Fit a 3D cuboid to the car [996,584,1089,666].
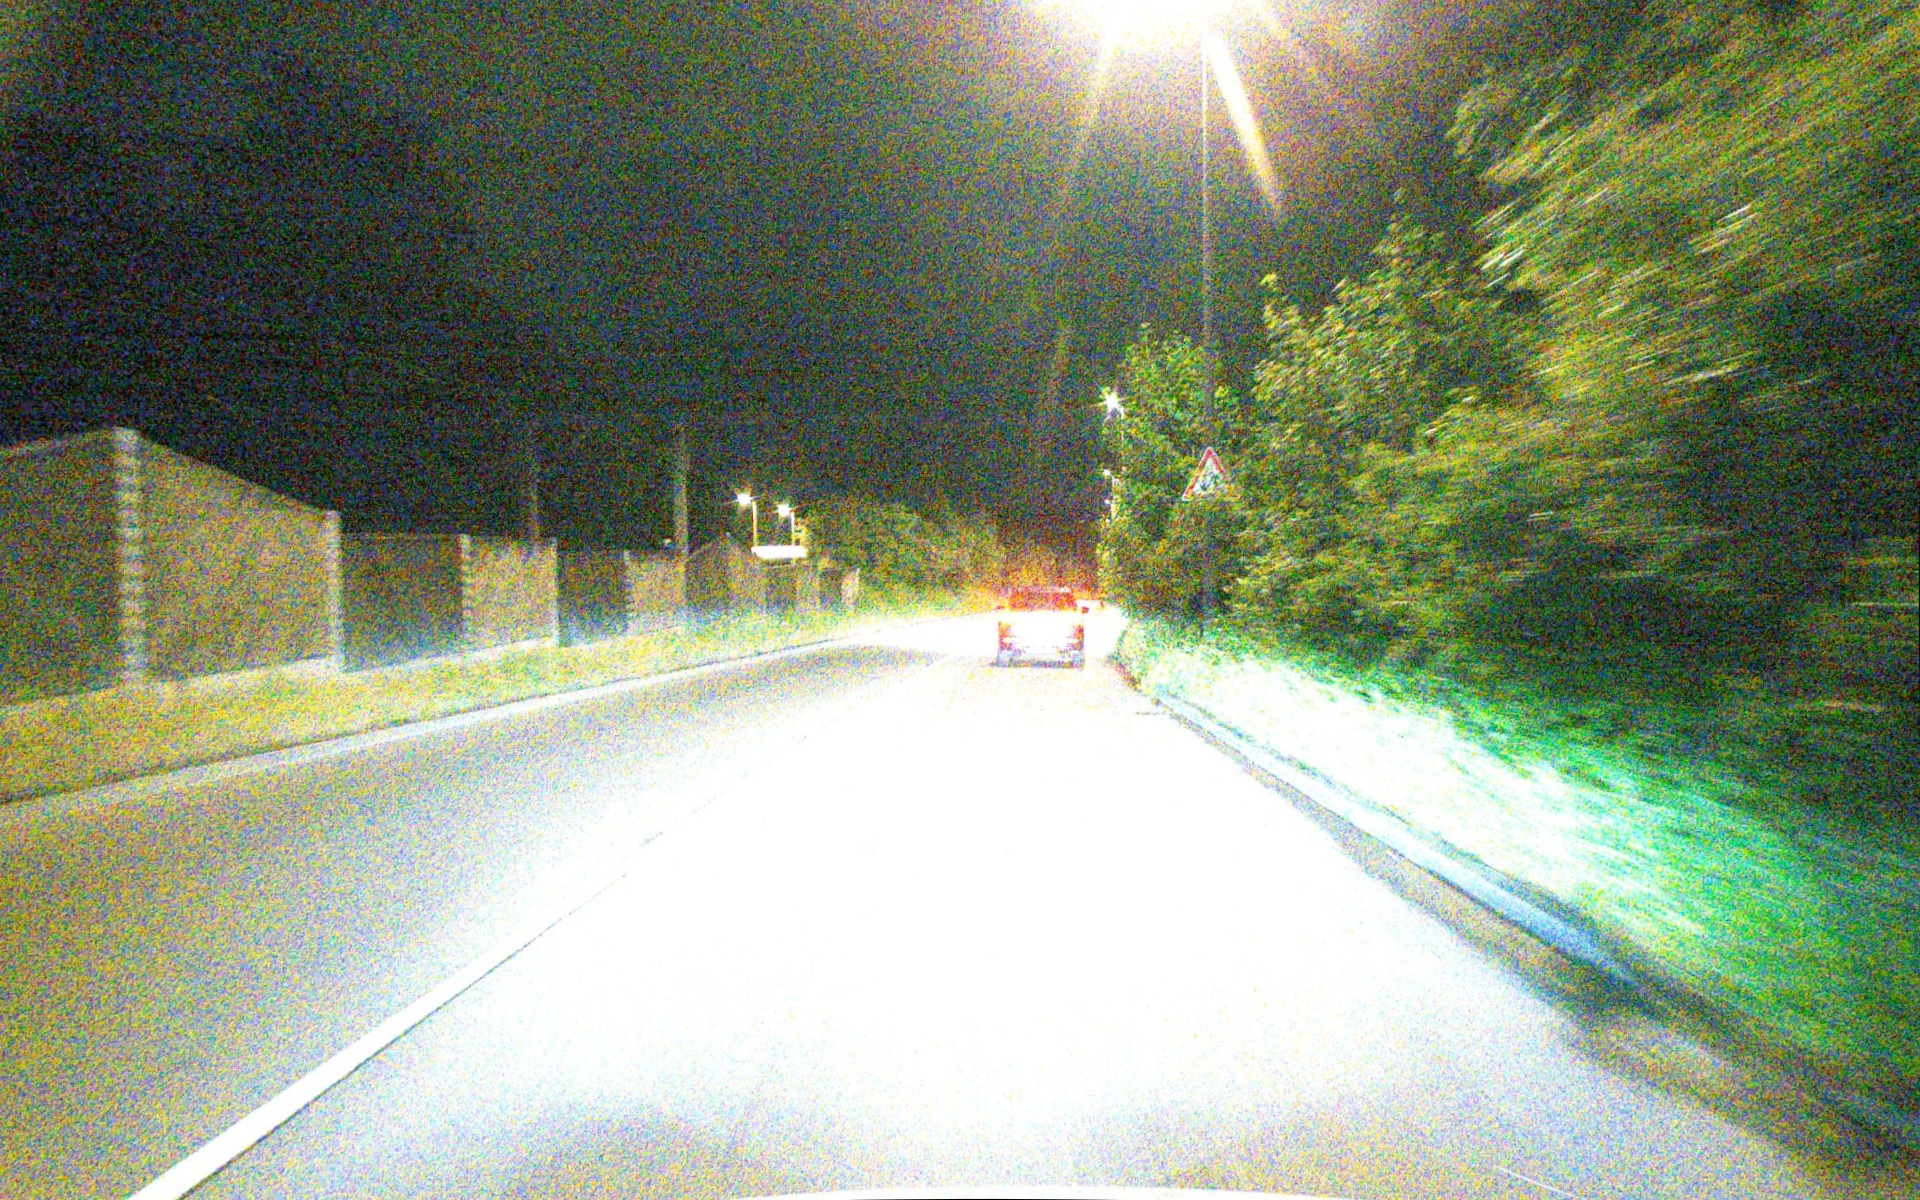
[{"bbox_3d":[1.778,0.474,34.512,1.776,1.601,3.946,0,0,5],"label":"car"}]
